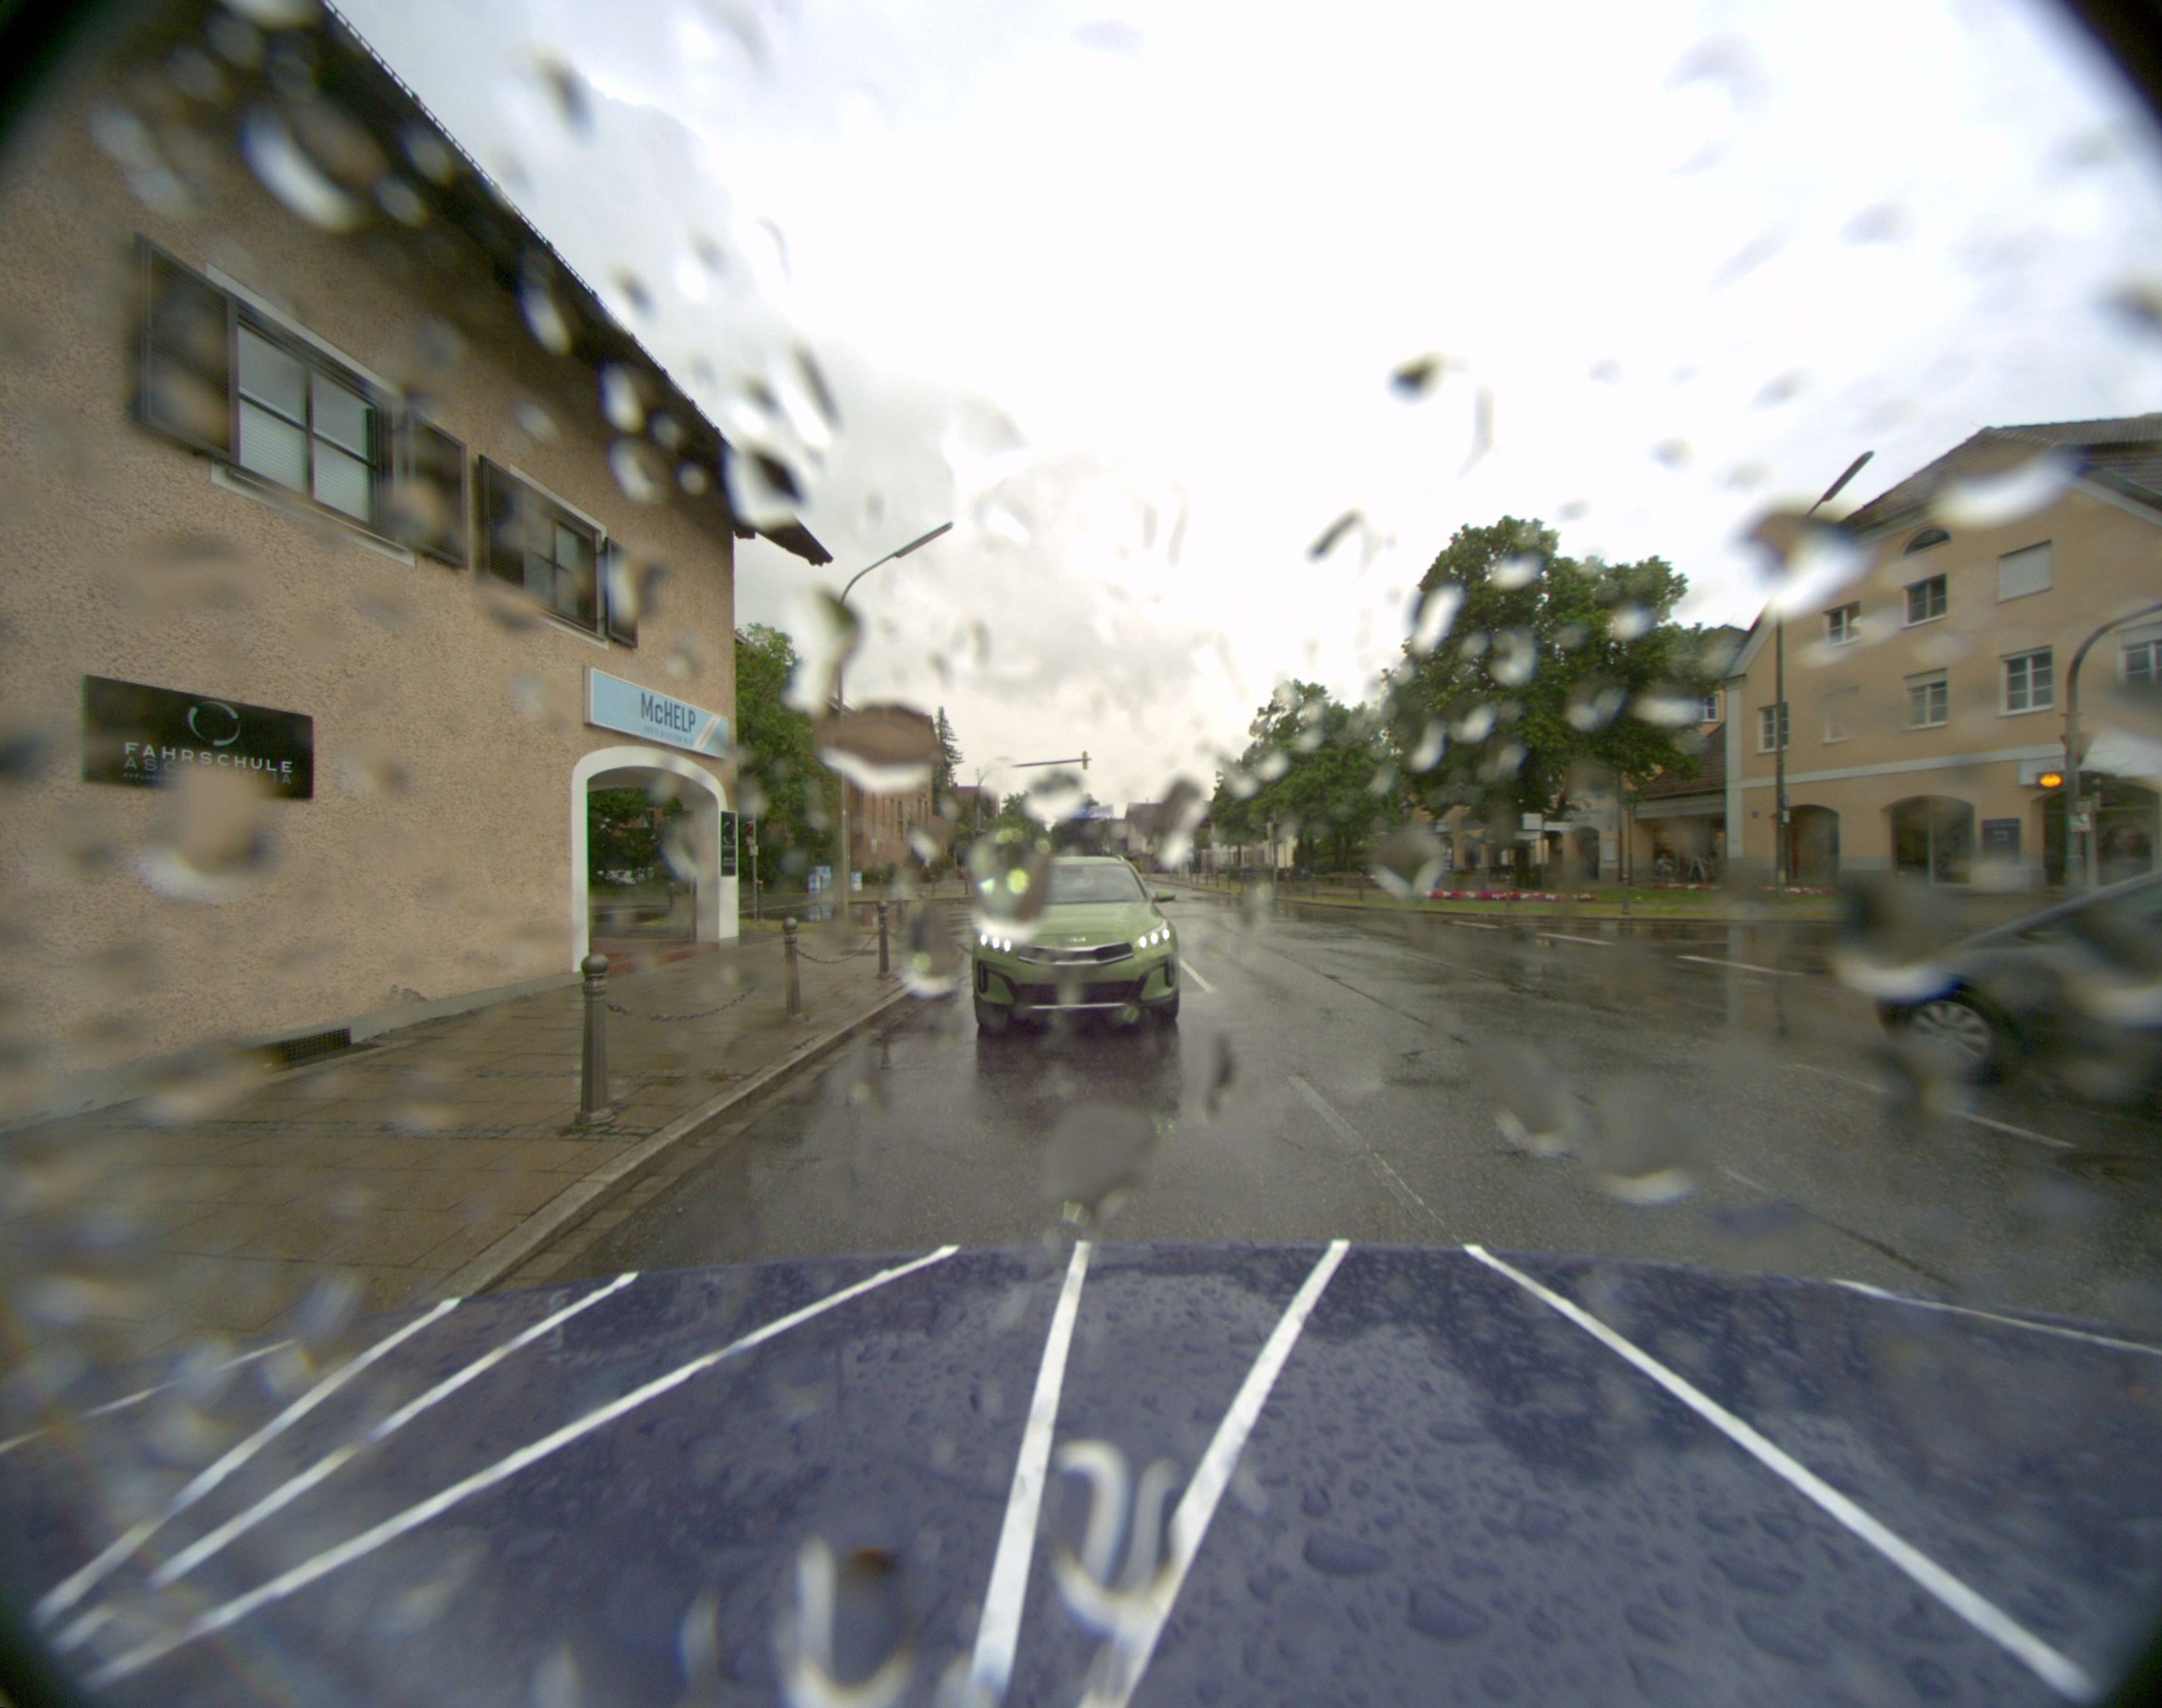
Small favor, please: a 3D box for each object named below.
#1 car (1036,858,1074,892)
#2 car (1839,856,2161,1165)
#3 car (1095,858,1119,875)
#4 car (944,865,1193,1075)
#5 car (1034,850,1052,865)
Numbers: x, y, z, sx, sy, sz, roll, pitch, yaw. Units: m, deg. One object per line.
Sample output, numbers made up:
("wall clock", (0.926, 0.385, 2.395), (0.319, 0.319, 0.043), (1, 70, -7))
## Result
("car", (-1.280, 0.948, 36.476), (1.736, 1.489, 4.609), (0, 0, -3))
("car", (6.333, 0.783, 3.414), (1.921, 1.524, 3.898), (0, 0, -1))
("car", (2.308, 1.109, 68.571), (1.873, 1.447, 4.103), (-1, 0, -2))
("car", (-0.063, 0.917, 7.849), (1.872, 1.505, 4.105), (-1, 0, 1))
("car", (-5.009, 0.413, 99.956), (2.218, 1.977, 4.952), (0, 0, -5))
